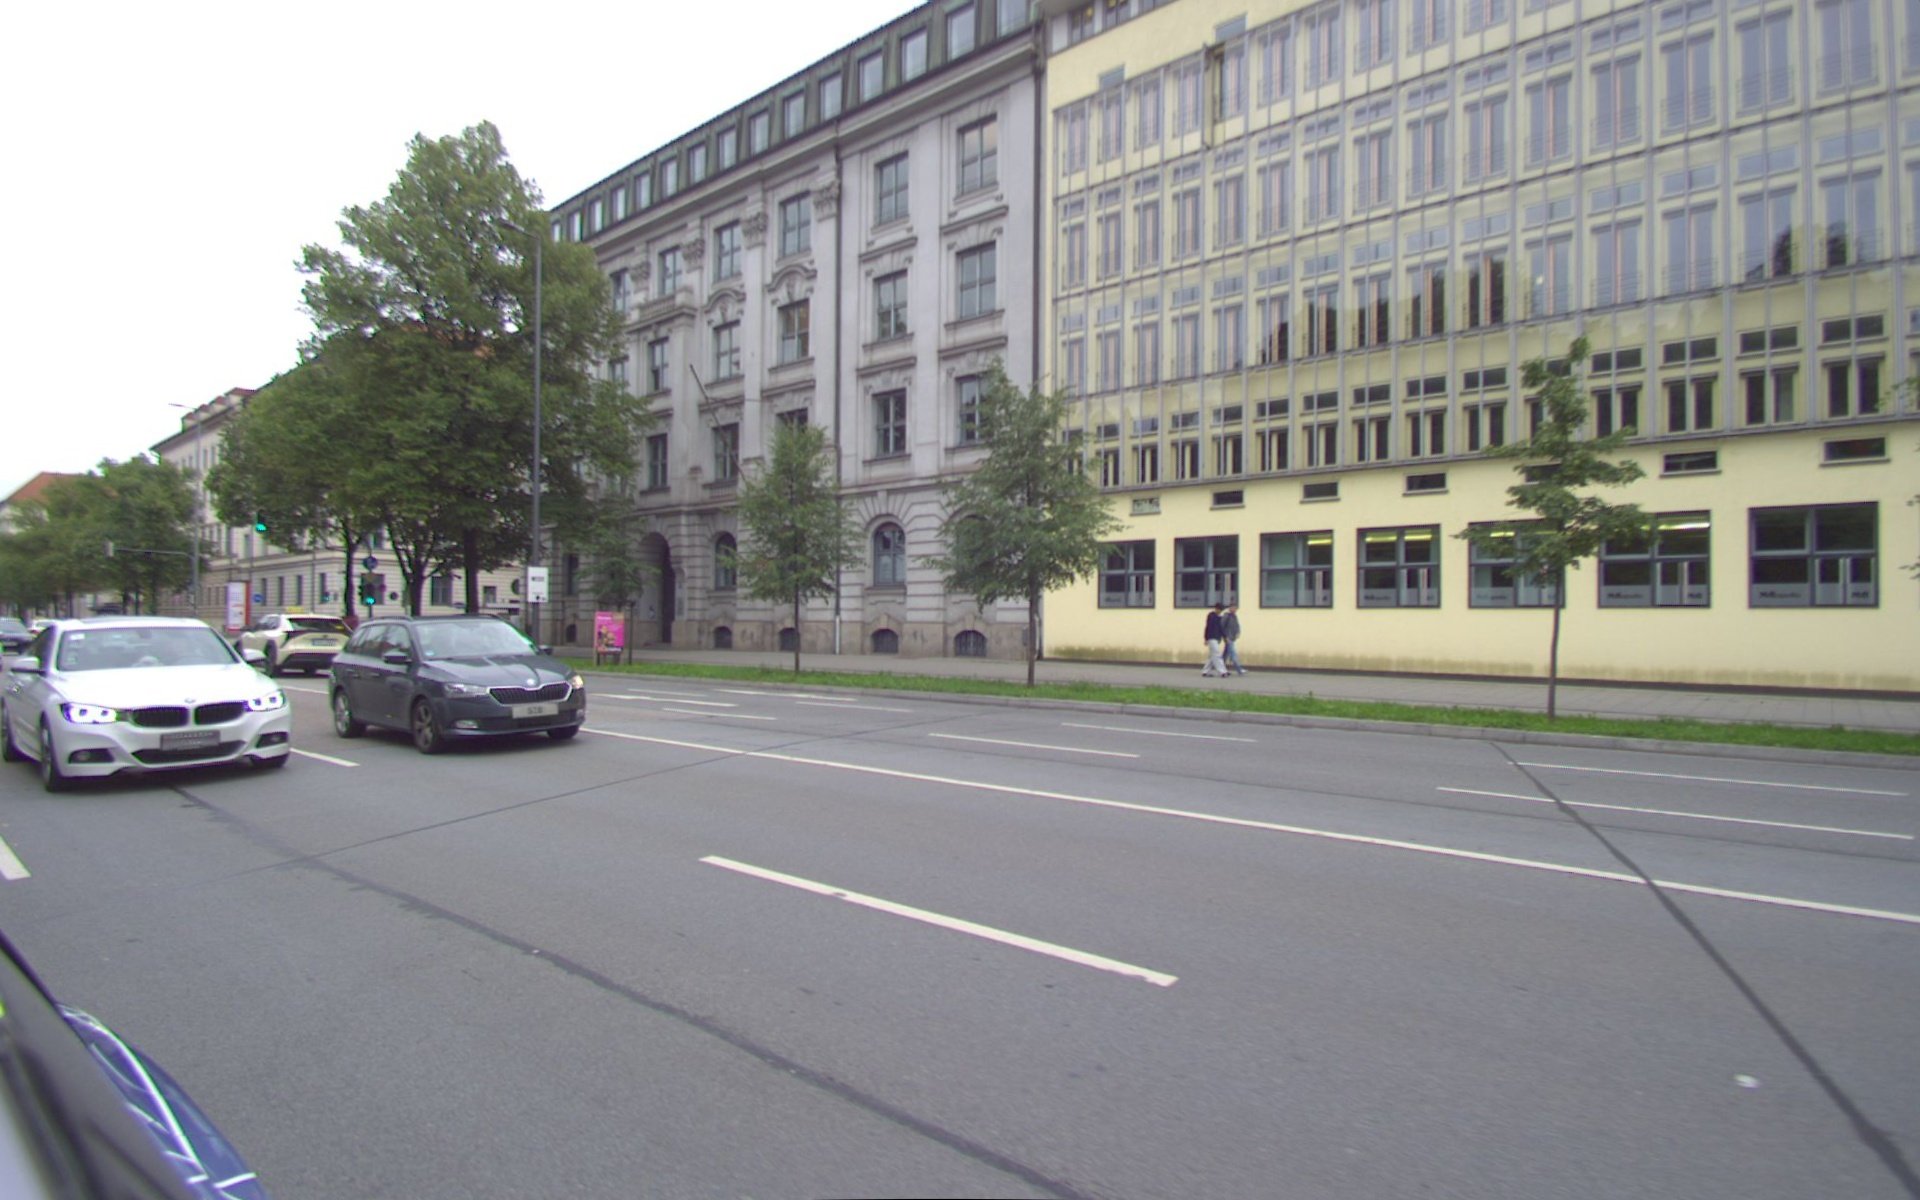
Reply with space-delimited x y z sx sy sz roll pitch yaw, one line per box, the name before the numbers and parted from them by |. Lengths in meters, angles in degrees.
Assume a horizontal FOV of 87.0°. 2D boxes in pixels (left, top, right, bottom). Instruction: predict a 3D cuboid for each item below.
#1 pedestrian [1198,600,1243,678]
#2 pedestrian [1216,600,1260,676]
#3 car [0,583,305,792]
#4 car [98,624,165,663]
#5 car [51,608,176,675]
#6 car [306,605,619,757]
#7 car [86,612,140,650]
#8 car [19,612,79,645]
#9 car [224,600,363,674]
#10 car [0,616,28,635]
pedestrian | 6.171 0.910 23.990 0.835 1.790 0.609 -1 0 42
pedestrian | 6.728 0.910 24.474 0.835 1.790 0.609 -1 0 42
car | -8.531 0.710 10.325 5.024 1.649 1.774 0 -1 41
car | -32.656 1.690 39.850 1.746 1.434 4.752 3 -3 -42
car | -21.149 0.987 25.230 4.336 1.528 1.674 -1 -2 41
car | -5.929 0.803 11.831 4.273 1.458 1.774 0 -1 41
car | -46.949 1.701 56.066 4.262 1.763 1.807 4 -1 45
car | -46.608 1.481 51.735 4.822 1.554 1.808 -3 -3 43
car | -17.272 0.943 26.123 4.628 1.762 1.837 -1 -3 42
car | -81.290 2.184 86.667 3.998 1.608 1.726 -1 -4 41
